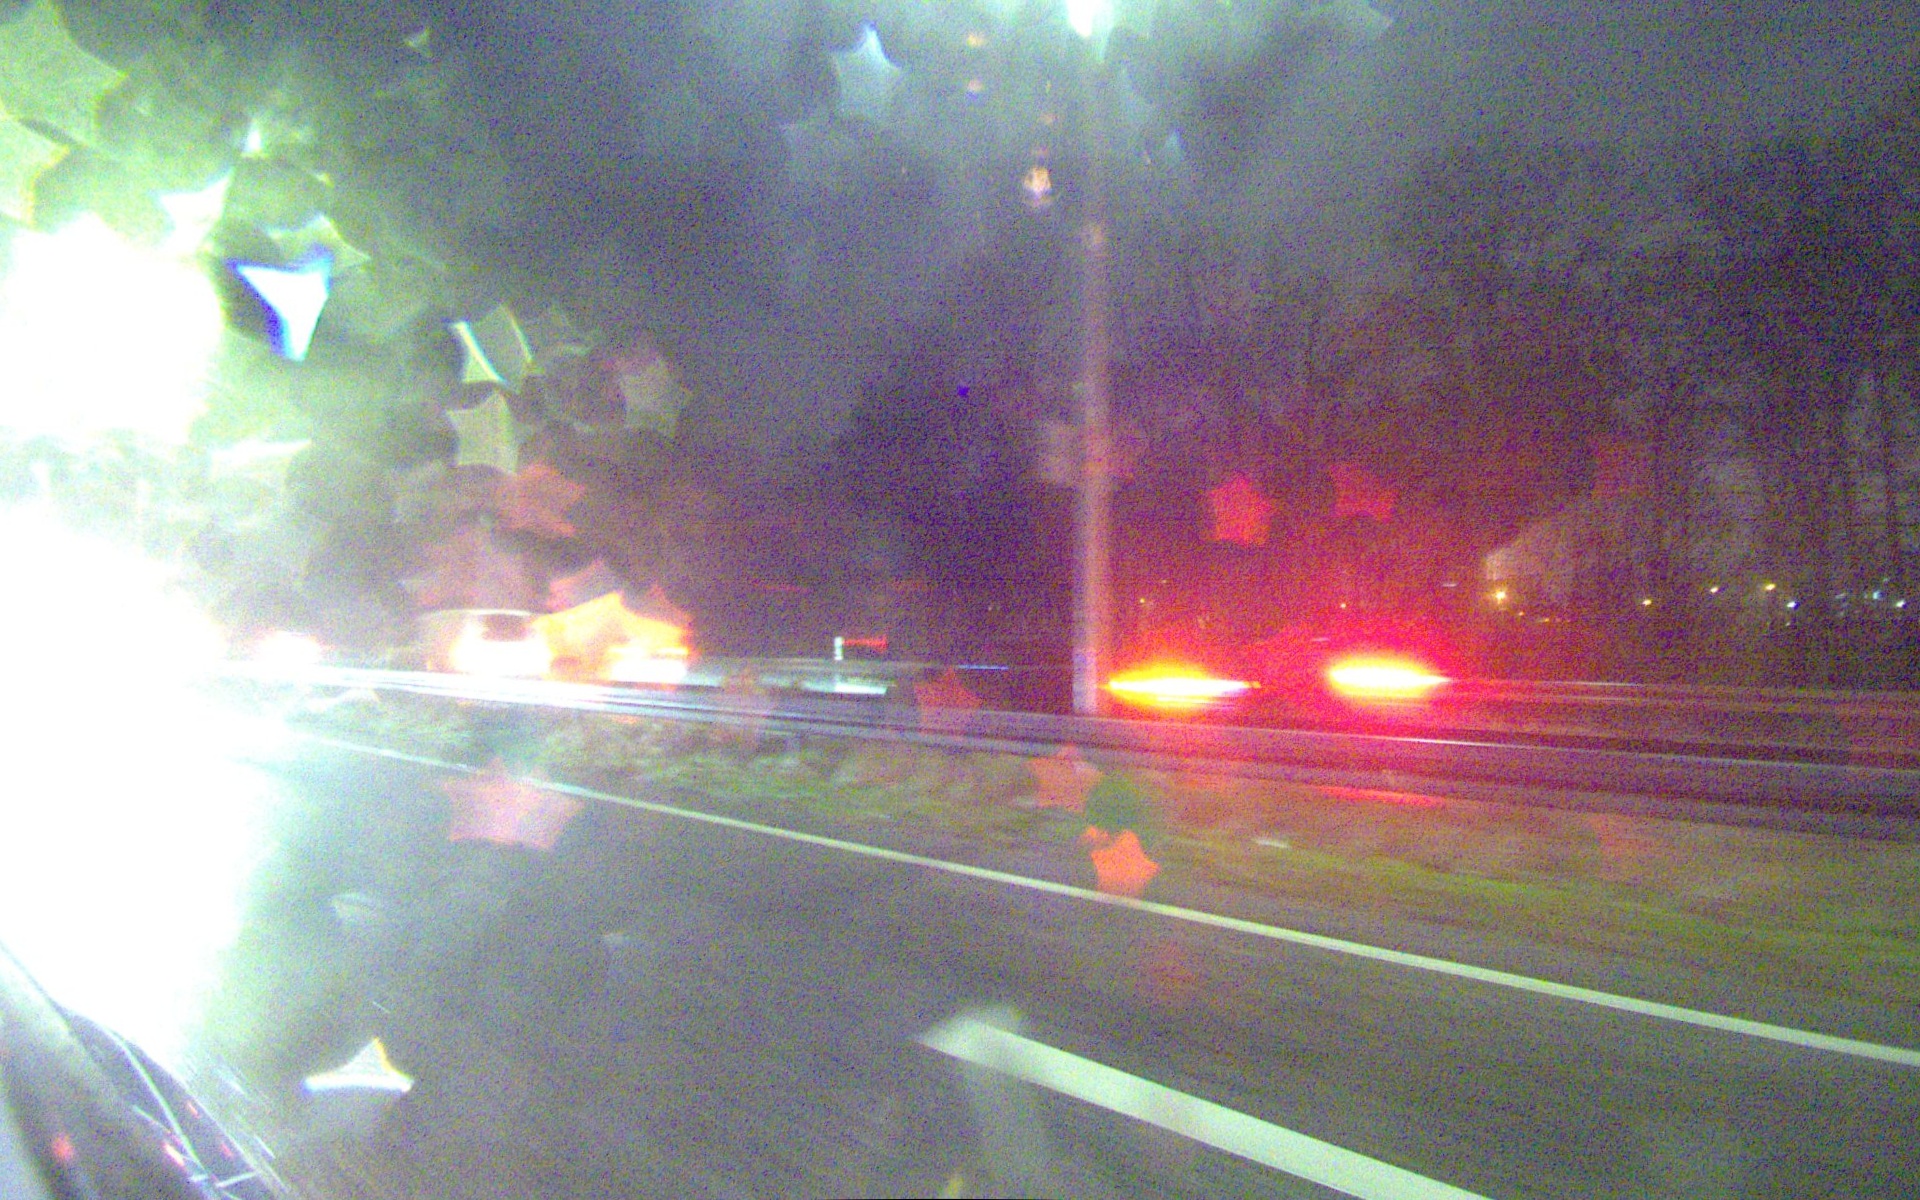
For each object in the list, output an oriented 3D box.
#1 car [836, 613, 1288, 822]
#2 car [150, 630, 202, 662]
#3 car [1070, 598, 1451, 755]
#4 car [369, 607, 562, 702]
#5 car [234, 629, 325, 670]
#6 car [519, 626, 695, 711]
[{"bbox_3d":[1.015,1.095,11.489,4.700,1.787,2.144,0,1,39],"label":"car"},{"bbox_3d":[-44.173,2.565,56.985,3.832,1.563,1.584,0,1,41],"label":"car"},{"bbox_3d":[4.049,0.901,14.075,4.700,1.787,1.974,0,1,39],"label":"car"},{"bbox_3d":[-10.830,1.086,22.007,4.700,1.787,1.974,0,1,39],"label":"car"},{"bbox_3d":[-29.621,2.090,44.017,4.893,1.513,2.003,0,1,40],"label":"car"},{"bbox_3d":[-8.898,1.619,25.325,4.700,1.787,1.974,0,1,39],"label":"car"}]
